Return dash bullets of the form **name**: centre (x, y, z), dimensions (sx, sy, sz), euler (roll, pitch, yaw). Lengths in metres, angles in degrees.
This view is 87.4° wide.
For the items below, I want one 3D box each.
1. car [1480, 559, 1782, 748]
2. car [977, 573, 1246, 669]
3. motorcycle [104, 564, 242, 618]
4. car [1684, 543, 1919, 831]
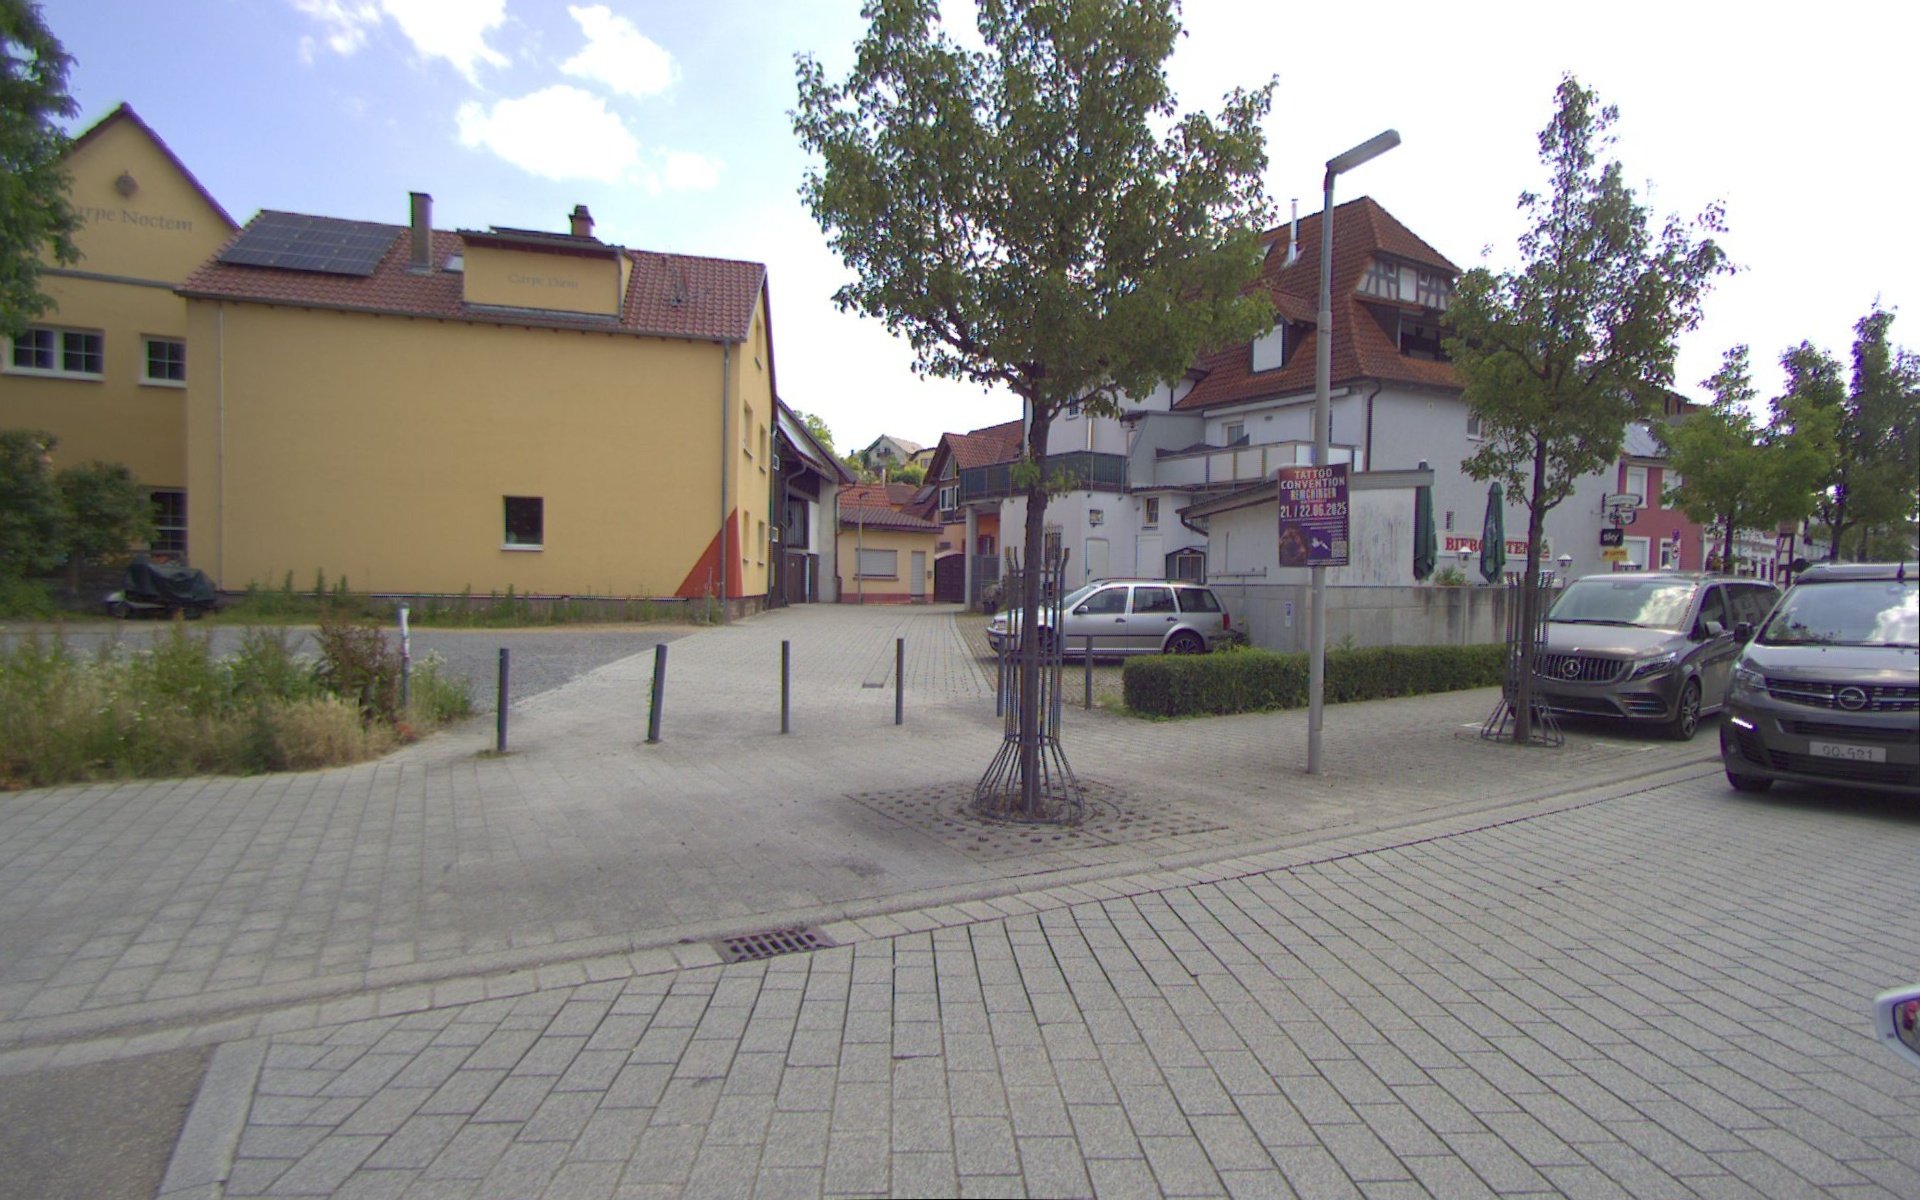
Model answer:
- **car**: centre (8.884, 0.545, 13.109), dimensions (5.003, 2.017, 1.969), euler (0, 1, -40)
- **car**: centre (2.569, 0.331, 17.765), dimensions (4.352, 1.517, 1.998), euler (1, 3, -5)
- **motorcycle**: centre (-15.666, -0.173, 20.066), dimensions (2.038, 1.034, 0.779), euler (0, 1, -25)
- **car**: centre (8.417, 0.606, 8.887), dimensions (4.695, 2.041, 1.979), euler (0, 1, -37)
